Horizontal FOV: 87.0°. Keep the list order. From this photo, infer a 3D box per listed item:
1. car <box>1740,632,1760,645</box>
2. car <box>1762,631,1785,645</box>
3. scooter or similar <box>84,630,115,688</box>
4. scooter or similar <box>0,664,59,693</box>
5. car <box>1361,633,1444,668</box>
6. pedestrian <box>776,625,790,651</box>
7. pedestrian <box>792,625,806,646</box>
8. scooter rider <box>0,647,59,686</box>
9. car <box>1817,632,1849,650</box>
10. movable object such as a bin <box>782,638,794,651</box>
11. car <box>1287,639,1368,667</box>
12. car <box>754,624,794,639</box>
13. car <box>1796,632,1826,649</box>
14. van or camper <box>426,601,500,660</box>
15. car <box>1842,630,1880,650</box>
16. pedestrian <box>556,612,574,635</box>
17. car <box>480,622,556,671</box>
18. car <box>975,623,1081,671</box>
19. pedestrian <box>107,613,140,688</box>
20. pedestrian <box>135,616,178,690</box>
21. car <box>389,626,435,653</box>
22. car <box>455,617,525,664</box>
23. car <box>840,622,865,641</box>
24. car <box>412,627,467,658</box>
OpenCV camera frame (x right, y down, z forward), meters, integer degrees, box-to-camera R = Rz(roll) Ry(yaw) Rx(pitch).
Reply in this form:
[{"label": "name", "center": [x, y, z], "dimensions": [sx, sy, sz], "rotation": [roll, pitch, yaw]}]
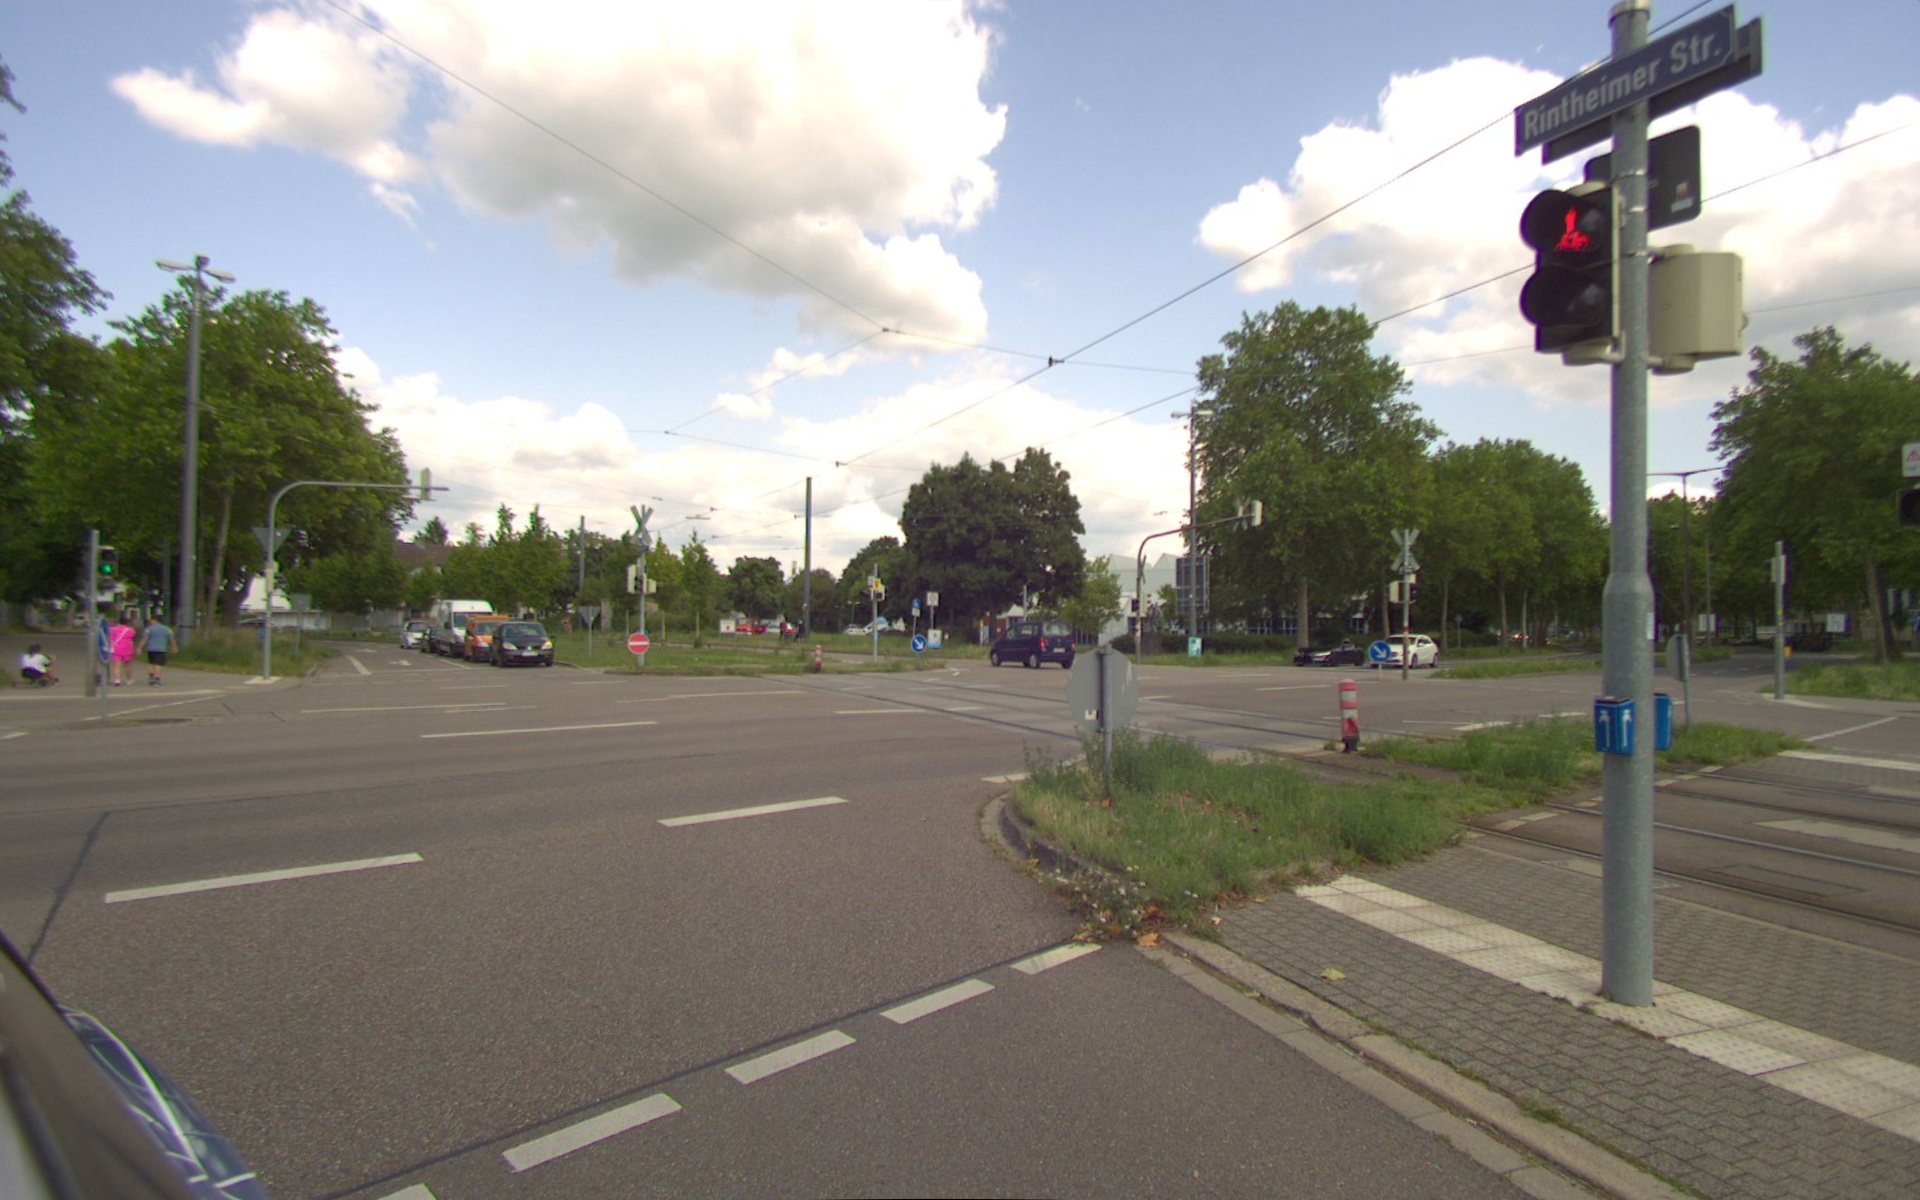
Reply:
[{"label": "car", "center": [108.587, 5.276, 139.089], "dimensions": [1.996, 1.586, 3.951], "rotation": [-2, -1, 36]}, {"label": "car", "center": [102.154, 4.774, 127.077], "dimensions": [1.996, 1.586, 3.951], "rotation": [-2, -1, 36]}, {"label": "scooter or similar", "center": [-19.023, 1.283, 22.378], "dimensions": [0.316, 1.241, 0.778], "rotation": [-1, -1, -25]}, {"label": "scooter or similar", "center": [-19.425, 1.630, 21.141], "dimensions": [0.601, 0.515, 0.860], "rotation": [-1, -1, -17]}, {"label": "car", "center": [18.936, 2.131, 43.224], "dimensions": [4.076, 1.375, 1.832], "rotation": [2, -2, -44]}, {"label": "pedestrian", "center": [-11.547, 2.471, 66.151], "dimensions": [0.638, 1.657, 0.605], "rotation": [-2, -1, 40]}, {"label": "pedestrian", "center": [-10.717, 2.389, 67.387], "dimensions": [0.640, 1.364, 0.754], "rotation": [-1, -1, -36]}, {"label": "scooter rider", "center": [-19.432, 1.381, 21.148], "dimensions": [0.602, 0.734, 0.862], "rotation": [-1, -1, -17]}, {"label": "car", "center": [84.229, 3.916, 97.673], "dimensions": [1.996, 1.586, 3.951], "rotation": [-2, -1, 36]}, {"label": "movable object such as a bin", "center": [-11.171, 2.869, 65.831], "dimensions": [0.459, 0.817, 0.571], "rotation": [-2, -1, 39]}, {"label": "car", "center": [16.400, 2.349, 45.120], "dimensions": [3.647, 1.201, 1.644], "rotation": [2, -2, -35]}, {"label": "car", "center": [-18.949, 3.213, 103.044], "dimensions": [3.935, 1.542, 2.004], "rotation": [1, -2, -10]}, {"label": "car", "center": [88.272, 4.204, 105.003], "dimensions": [1.996, 1.586, 3.951], "rotation": [-2, -1, 36]}, {"label": "van or camper", "center": [-22.915, 1.415, 46.519], "dimensions": [1.950, 2.544, 6.050], "rotation": [2, -3, -36]}, {"label": "car", "center": [78.126, 3.481, 87.808], "dimensions": [1.996, 1.586, 3.951], "rotation": [-2, -1, 36]}, {"label": "pedestrian", "center": [-36.212, 2.168, 92.744], "dimensions": [1.176, 2.029, 1.092], "rotation": [-1, -2, 39]}, {"label": "car", "center": [-15.595, 1.598, 35.587], "dimensions": [1.707, 1.643, 4.063], "rotation": [2, -2, -34]}, {"label": "car", "center": [2.348, 1.624, 35.980], "dimensions": [1.698, 1.629, 4.011], "rotation": [1, -2, -32]}, {"label": "pedestrian", "center": [-18.596, 1.116, 22.506], "dimensions": [0.414, 1.631, 0.598], "rotation": [1, -1, -27]}, {"label": "pedestrian", "center": [-17.990, 1.167, 22.673], "dimensions": [0.622, 1.631, 0.612], "rotation": [1, -1, -27]}, {"label": "car", "center": [-31.508, 2.238, 58.118], "dimensions": [1.781, 1.442, 4.393], "rotation": [2, -2, -35]}, {"label": "car", "center": [-19.030, 1.609, 40.889], "dimensions": [1.853, 1.813, 4.381], "rotation": [2, -2, -34]}, {"label": "car", "center": [-9.930, 2.908, 93.169], "dimensions": [1.967, 1.652, 4.400], "rotation": [1, -2, -11]}, {"label": "car", "center": [-26.675, 2.157, 51.798], "dimensions": [1.782, 1.442, 4.479], "rotation": [2, -2, -37]}]
